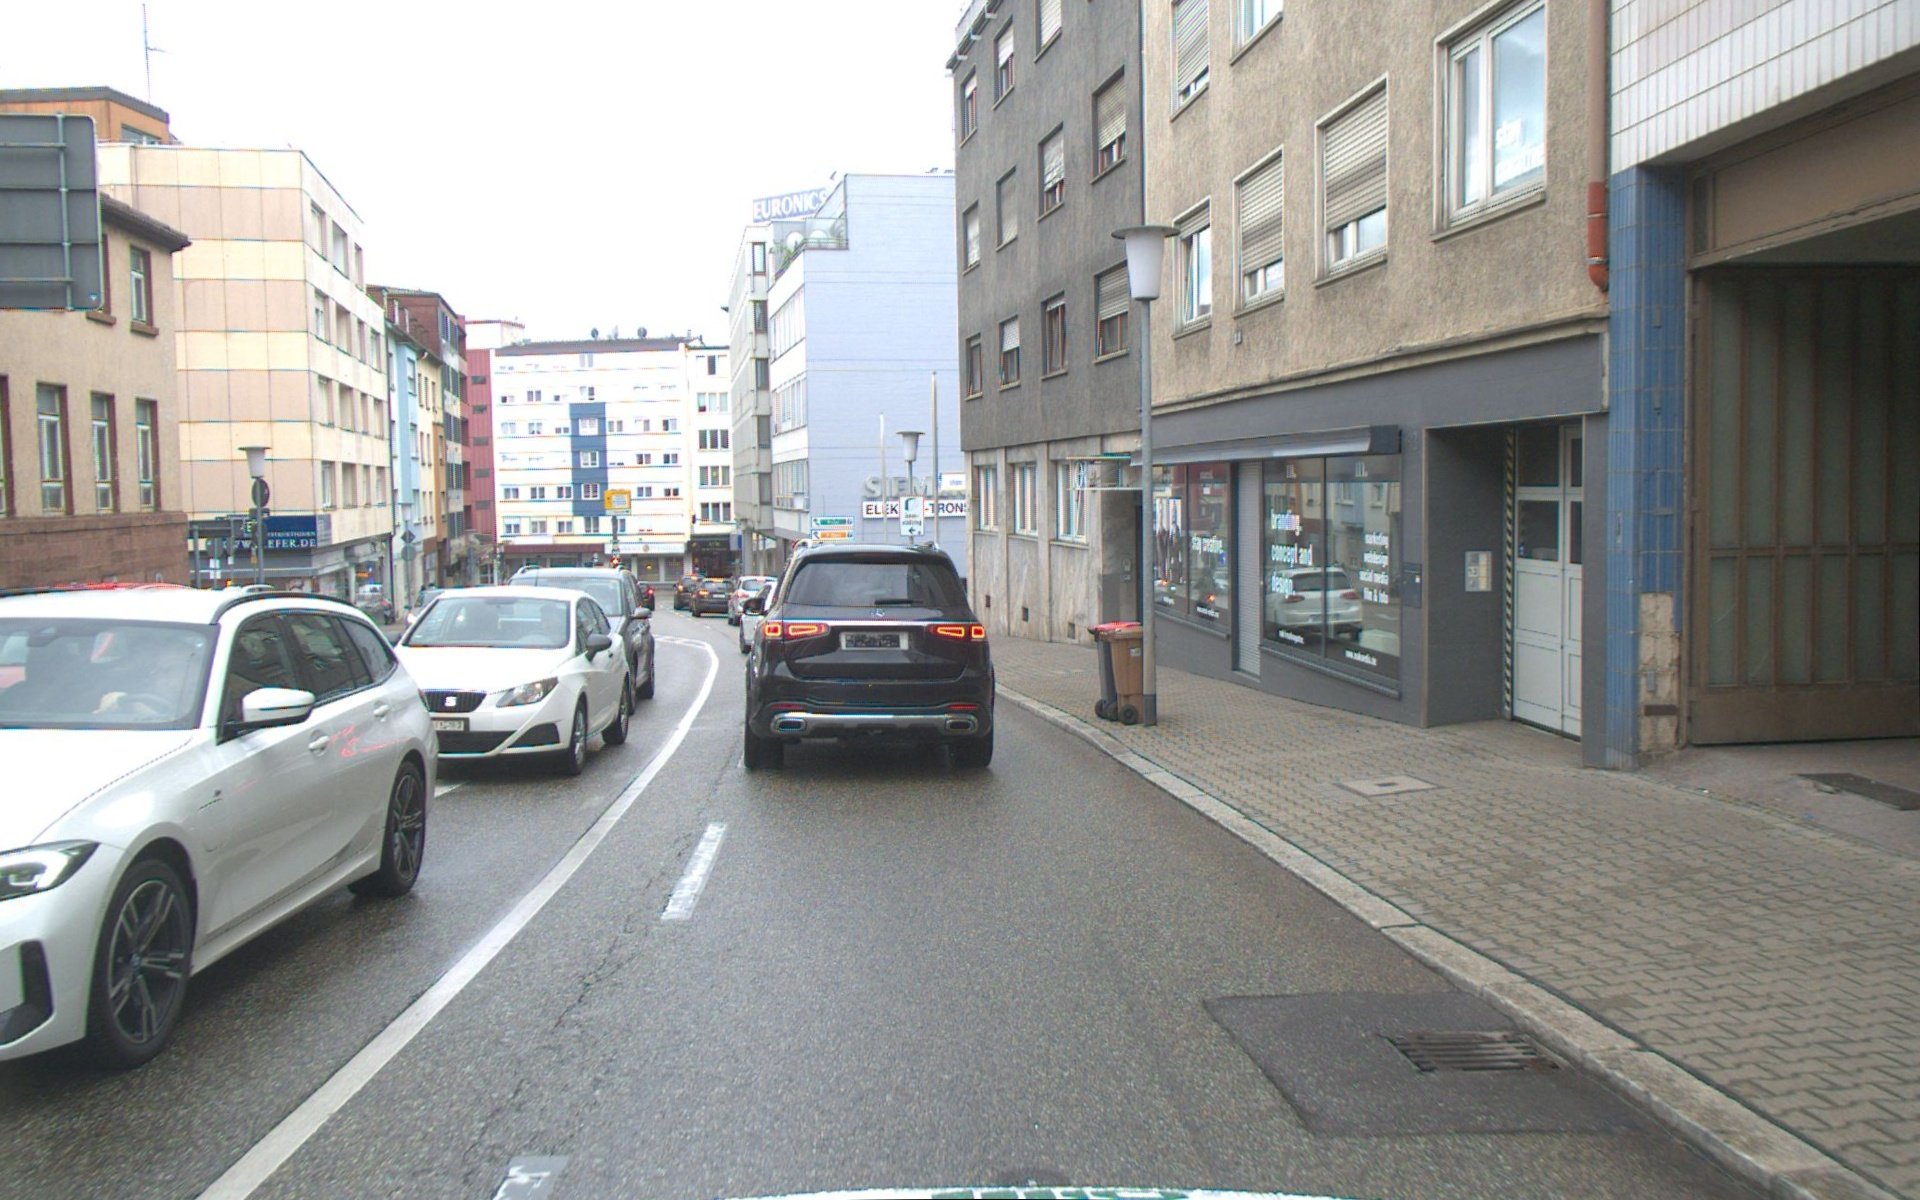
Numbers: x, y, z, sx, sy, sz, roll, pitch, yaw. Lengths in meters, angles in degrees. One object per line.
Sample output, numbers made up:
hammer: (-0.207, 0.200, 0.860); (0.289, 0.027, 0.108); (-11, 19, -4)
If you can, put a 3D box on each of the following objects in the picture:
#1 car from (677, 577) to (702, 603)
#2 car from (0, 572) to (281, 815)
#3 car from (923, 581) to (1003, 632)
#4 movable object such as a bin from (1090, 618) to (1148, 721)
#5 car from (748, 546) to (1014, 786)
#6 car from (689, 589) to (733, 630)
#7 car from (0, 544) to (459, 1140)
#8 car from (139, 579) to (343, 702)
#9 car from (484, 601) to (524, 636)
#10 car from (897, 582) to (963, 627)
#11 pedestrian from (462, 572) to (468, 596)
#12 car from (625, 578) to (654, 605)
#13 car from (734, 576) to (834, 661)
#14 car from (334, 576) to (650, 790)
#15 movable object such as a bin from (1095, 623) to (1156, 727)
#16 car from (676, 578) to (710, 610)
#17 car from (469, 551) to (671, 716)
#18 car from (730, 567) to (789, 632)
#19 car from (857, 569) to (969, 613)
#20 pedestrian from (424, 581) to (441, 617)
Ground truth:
car: (-17.089, -0.636, 104.380); (1.494, 1.575, 3.100); (0, 1, -10)
car: (-6.756, 0.628, 12.640); (1.706, 1.542, 4.126); (-3, 0, -5)
car: (0.043, 0.181, 51.607); (1.764, 1.503, 4.474); (1, 1, -10)
movable object such as a bin: (1.630, 0.711, 17.009); (0.514, 0.997, 0.537); (0, 4, -3)
car: (-0.854, 0.467, 14.671); (1.982, 1.770, 4.740); (0, 0, -7)
car: (-10.224, 0.358, 67.780); (1.496, 1.575, 3.096); (0, 1, -14)
car: (-3.433, 0.642, 6.516); (1.771, 1.548, 4.558); (-1, 0, -4)
car: (-10.769, 0.556, 25.048); (1.624, 1.638, 3.924); (-3, 0, -5)
car: (-22.505, 0.908, 81.709); (1.686, 1.614, 4.128); (-3, 0, -14)
car: (-1.058, 0.126, 56.865); (1.538, 1.503, 4.058); (1, 1, -12)
pedestrian: (-32.116, -1.051, 107.224); (0.312, 1.499, 0.338); (0, 4, -7)
car: (-15.960, -0.436, 82.466); (1.261, 1.143, 2.783); (0, 5, -8)
car: (-3.512, 0.355, 33.132); (1.795, 1.487, 4.373); (-3, 0, -6)
car: (-3.764, 0.603, 14.038); (1.664, 1.506, 4.287); (1, 0, -4)
movable object such as a bin: (1.643, 0.736, 16.447); (0.514, 0.966, 0.537); (0, 4, -3)
car: (-13.724, -0.316, 84.967); (1.496, 1.575, 3.096); (0, 1, -14)
car: (-4.606, 0.365, 20.136); (1.772, 1.735, 4.556); (1, 0, -6)
car: (-6.569, -0.040, 53.898); (1.721, 1.810, 3.569); (0, 5, -10)
car: (-1.800, -0.313, 63.715); (3.946, 1.625, 1.780); (1, -1, -31)
pedestrian: (-25.224, -0.041, 79.134); (0.727, 1.680, 0.604); (-1, 4, -15)
